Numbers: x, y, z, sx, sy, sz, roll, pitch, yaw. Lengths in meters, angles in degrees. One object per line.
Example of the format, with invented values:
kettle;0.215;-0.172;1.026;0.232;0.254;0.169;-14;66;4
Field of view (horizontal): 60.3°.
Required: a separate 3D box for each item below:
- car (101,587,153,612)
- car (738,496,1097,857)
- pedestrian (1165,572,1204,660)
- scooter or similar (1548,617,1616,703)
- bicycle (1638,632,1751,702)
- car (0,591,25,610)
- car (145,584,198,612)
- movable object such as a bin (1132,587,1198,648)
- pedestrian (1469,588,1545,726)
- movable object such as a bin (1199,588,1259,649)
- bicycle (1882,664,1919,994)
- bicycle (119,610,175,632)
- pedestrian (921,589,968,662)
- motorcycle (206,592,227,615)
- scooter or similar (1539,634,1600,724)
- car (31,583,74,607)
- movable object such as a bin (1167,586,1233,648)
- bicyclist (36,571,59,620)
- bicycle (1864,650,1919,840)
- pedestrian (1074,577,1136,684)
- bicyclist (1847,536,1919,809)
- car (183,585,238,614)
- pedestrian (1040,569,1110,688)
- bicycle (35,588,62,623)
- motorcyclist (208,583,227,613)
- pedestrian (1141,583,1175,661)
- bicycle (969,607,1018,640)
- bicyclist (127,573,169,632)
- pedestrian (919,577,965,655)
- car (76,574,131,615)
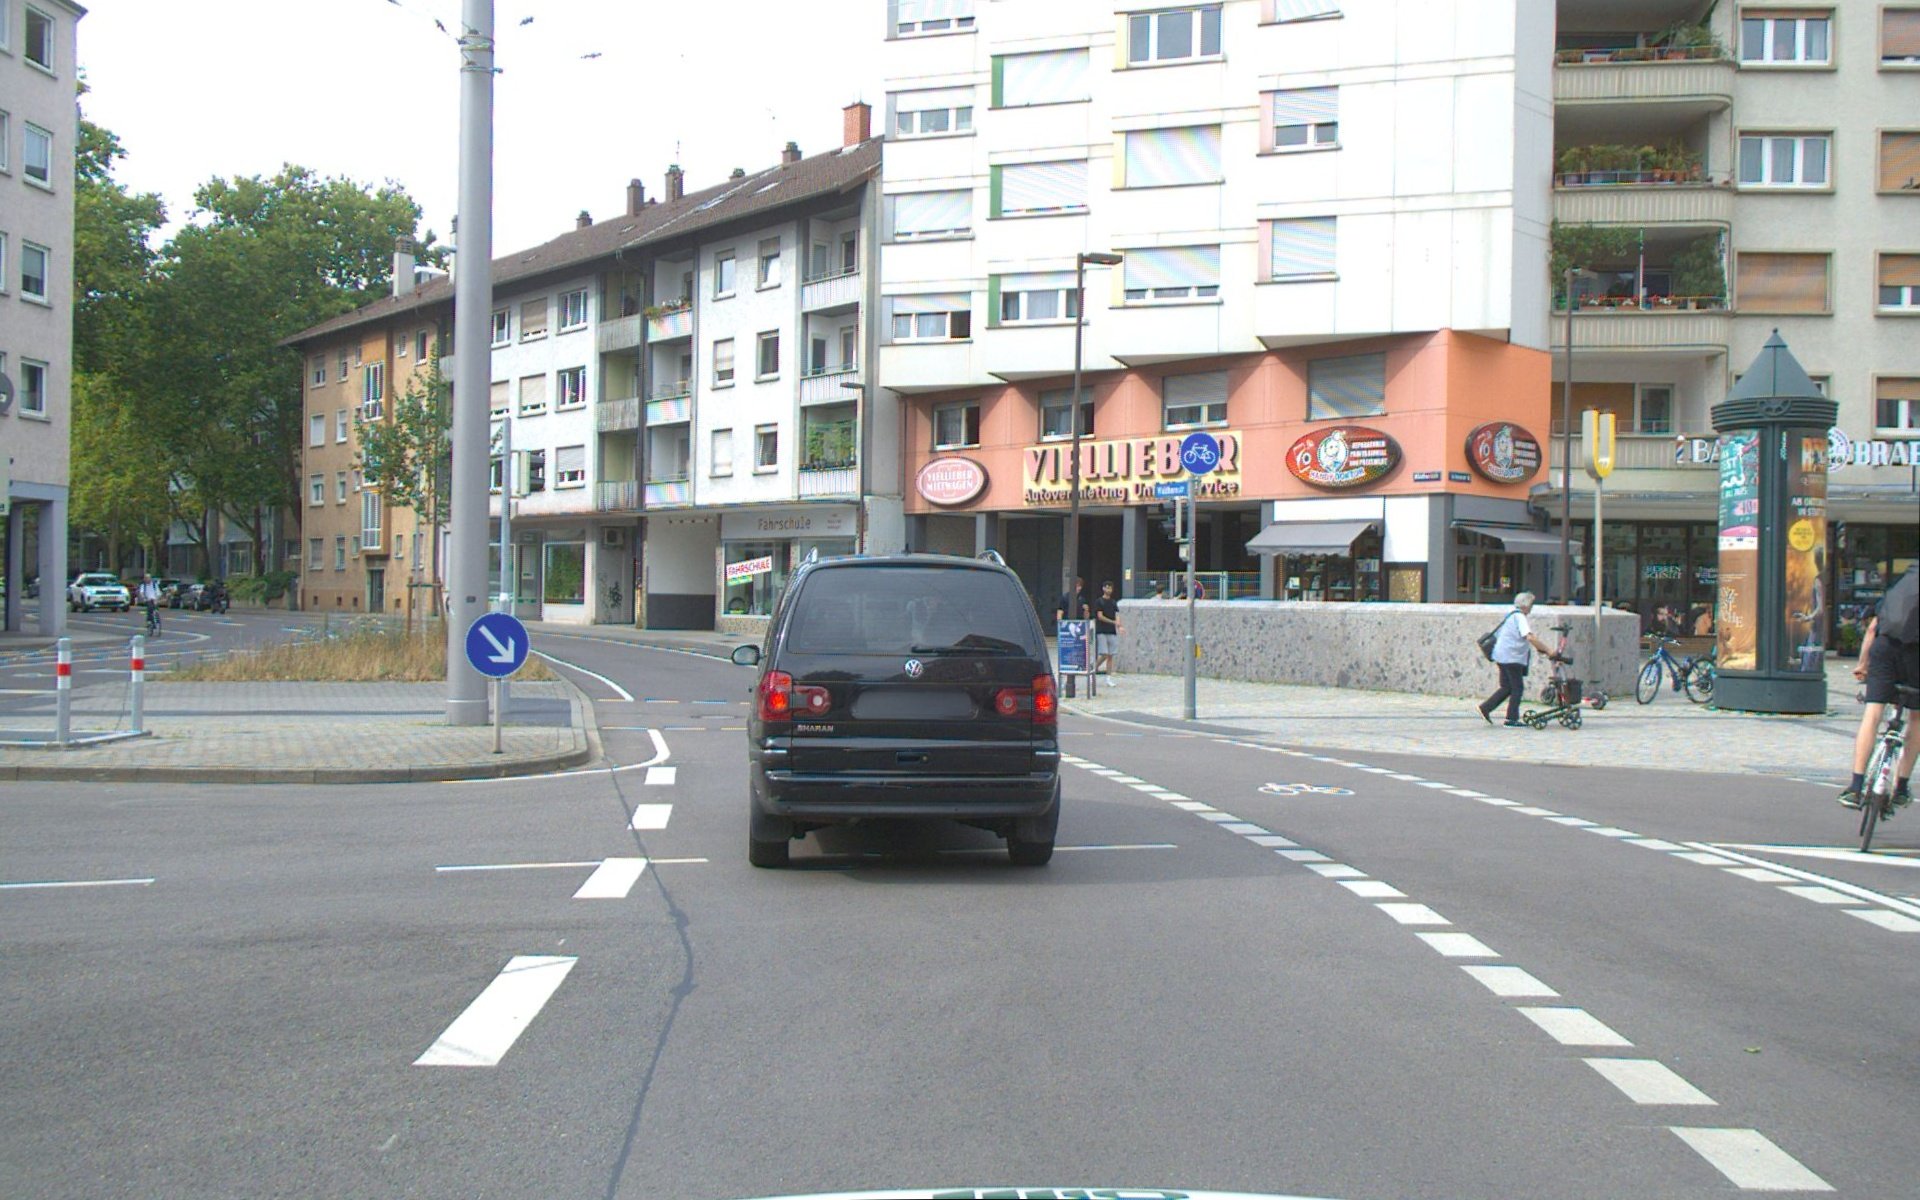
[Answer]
car;-50.560;-0.050;100.378;1.667;1.418;4.392;2;-1;-42
car;-0.447;0.438;10.238;1.778;1.797;3.730;1;-2;-8
pedestrian;5.070;0.351;37.328;0.668;1.936;0.581;-2;2;-41
scooter or similar;9.237;0.881;24.593;0.281;1.233;1.119;1;0;-20
bicycle;11.374;1.014;25.579;2.424;1.031;0.537;1;0;-38
car;-73.230;-0.003;126.937;1.667;1.418;4.392;2;-1;-42
car;-44.548;-0.106;93.434;1.649;1.447;3.887;1;1;-42
movable object such as a bin;5.158;0.434;41.628;1.139;1.486;1.205;1;0;-43
pedestrian;7.208;0.733;21.825;0.915;1.770;0.686;1;0;17
movable object such as a bin;7.018;0.469;43.148;0.997;1.542;1.149;1;0;-43
bicycle;3.543;0.822;5.037;0.397;1.141;2.018;1;1;2
bicycle;-23.669;0.616;48.197;0.473;0.598;1.999;1;0;6
pedestrian;-0.368;0.593;39.290;0.601;1.697;0.929;-3;2;-43
motorcycle;-33.520;0.157;74.585;1.242;1.025;0.337;1;0;39
scooter or similar;7.940;1.017;21.563;0.685;1.130;0.609;0;0;15
car;-61.696;-0.343;112.423;1.621;1.495;4.250;2;-1;-42
movable object such as a bin;6.132;0.438;42.344;1.188;1.542;1.178;1;0;-43
bicyclist;-33.500;-0.160;60.712;0.535;1.774;0.746;1;0;-42
bicycle;6.217;0.925;10.910;0.383;1.142;1.917;2;-2;28
pedestrian;2.555;0.517;29.192;0.871;1.831;0.672;1;3;43
bicyclist;6.307;0.466;10.961;0.684;1.739;0.907;1;0;26
car;-40.928;-0.039;90.285;1.649;1.447;3.807;1;1;-42
pedestrian;1.998;0.480;28.785;0.996;2.005;0.717;1;3;43
bicycle;-33.385;0.203;60.581;0.509;1.246;1.539;1;0;-42
motorcyclist;-33.465;-0.104;74.517;0.664;1.335;0.522;1;0;39
pedestrian;4.401;0.473;36.684;0.470;1.702;0.581;-2;2;-41
bicycle;0.994;0.685;49.145;0.450;0.912;1.653;1;1;-42
bicyclist;-23.586;0.062;48.046;0.595;1.675;1.038;1;0;6
pedestrian;-0.442;0.375;40.982;0.652;1.884;0.958;-2;2;-38
car;-37.668;-0.251;72.669;1.814;1.689;4.278;1;0;-32
